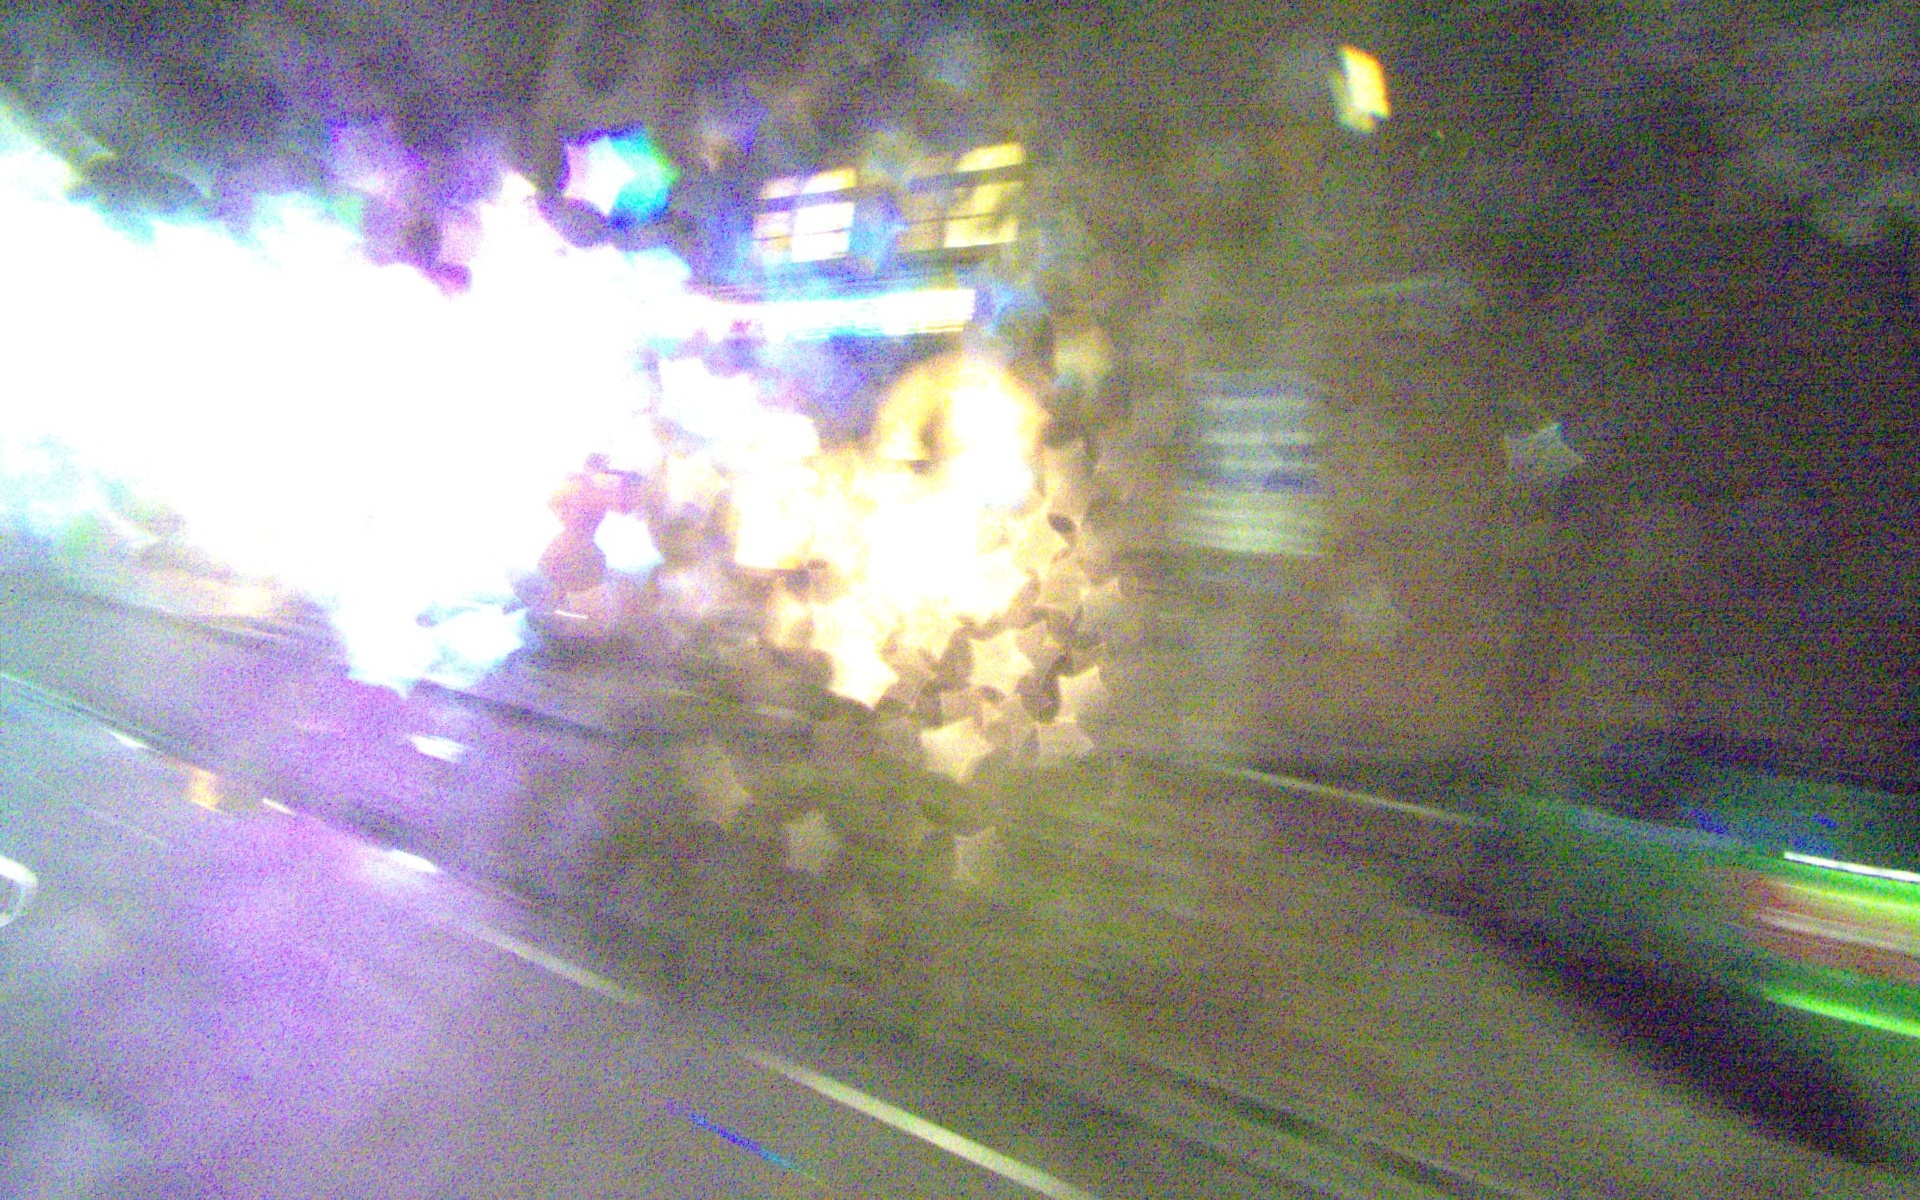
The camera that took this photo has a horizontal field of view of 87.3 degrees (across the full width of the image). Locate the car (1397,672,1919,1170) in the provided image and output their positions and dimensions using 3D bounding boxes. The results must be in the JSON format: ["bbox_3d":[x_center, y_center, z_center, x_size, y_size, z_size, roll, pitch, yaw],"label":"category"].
[{"bbox_3d":[4.142,1.353,5.469,1.923,1.555,4.110,7,-1,6],"label":"car"}]
